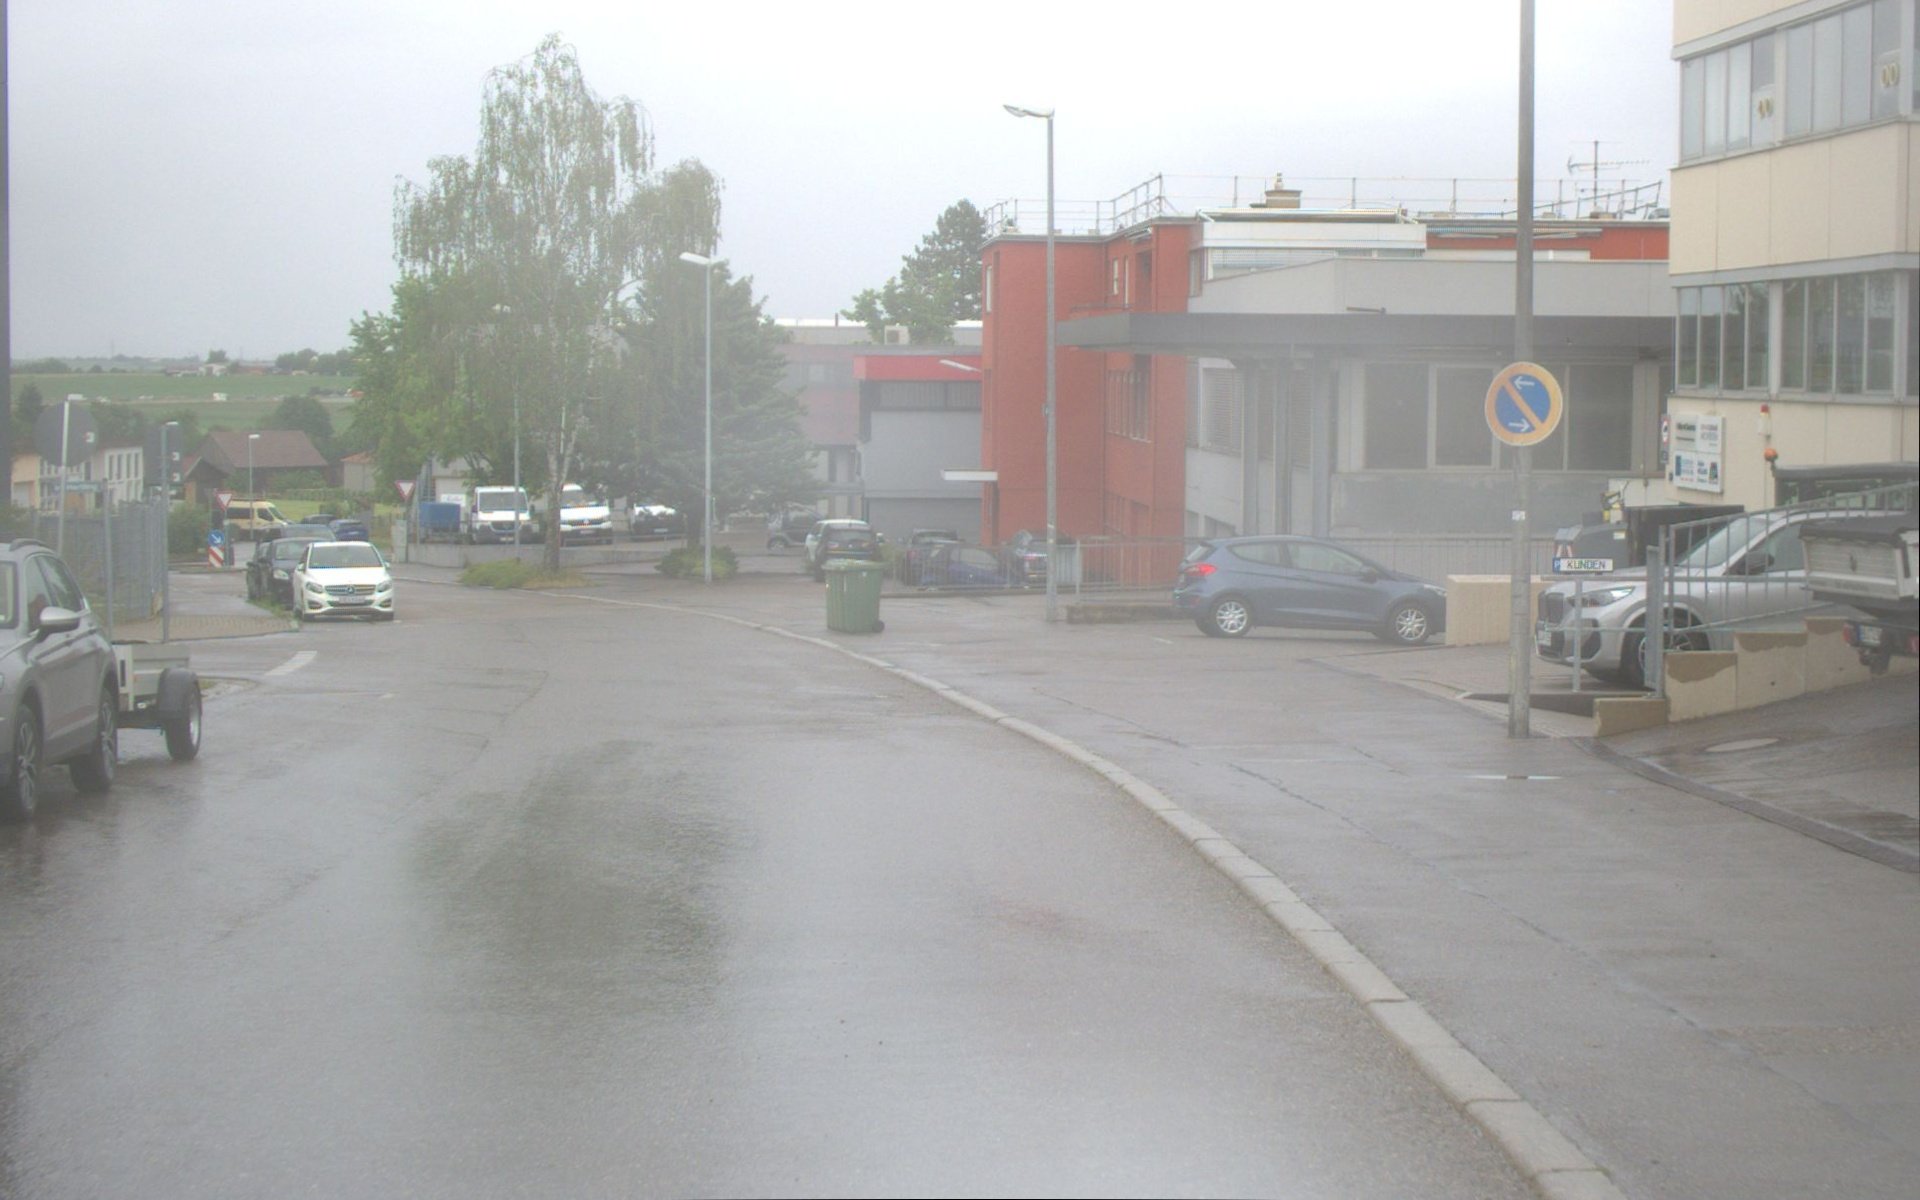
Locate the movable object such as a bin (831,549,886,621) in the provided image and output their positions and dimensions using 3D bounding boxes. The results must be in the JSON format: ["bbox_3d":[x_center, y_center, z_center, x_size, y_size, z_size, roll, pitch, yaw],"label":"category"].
[{"bbox_3d":[-1.562,-0.234,52.767,0.775,1.072,0.584,-1,1,-8],"label":"movable object such as a bin"}]

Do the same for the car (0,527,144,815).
[{"bbox_3d":[-6.383,0.390,21.095,1.957,1.571,4.841,-1,0,-5],"label":"car"}]

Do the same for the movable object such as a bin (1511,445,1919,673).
[{"bbox_3d":[7.614,-0.414,33.297,4.254,2.103,1.477,-1,1,-3],"label":"movable object such as a bin"}]

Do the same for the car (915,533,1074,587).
[{"bbox_3d":[0.733,-0.874,74.886,3.400,1.159,1.792,0,1,-1],"label":"car"}]

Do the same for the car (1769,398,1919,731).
[{"bbox_3d":[8.263,-0.571,22.173,5.298,2.006,2.222,-8,1,-3],"label":"car"}]

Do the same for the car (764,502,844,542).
[{"bbox_3d":[-5.215,-2.603,114.541,2.547,1.347,1.242,0,1,-8],"label":"car"}]

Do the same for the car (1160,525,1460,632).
[{"bbox_3d":[4.869,-0.297,48.159,3.894,1.379,1.821,1,0,-4],"label":"car"}]

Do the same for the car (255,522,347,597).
[{"bbox_3d":[-15.255,-0.952,79.461,1.700,1.604,4.001,-2,2,-16],"label":"car"}]

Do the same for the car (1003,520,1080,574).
[{"bbox_3d":[2.175,-1.405,92.496,1.728,1.417,4.001,0,0,-4],"label":"car"}]

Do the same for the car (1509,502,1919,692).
[{"bbox_3d":[7.755,-0.069,31.414,5.090,1.608,1.925,-1,2,-4],"label":"car"}]

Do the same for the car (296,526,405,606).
[{"bbox_3d":[-12.233,-0.677,68.846,1.769,1.507,4.146,-1,1,-15],"label":"car"}]

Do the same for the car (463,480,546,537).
[{"bbox_3d":[-16.763,-3.332,126.279,2.264,2.007,4.001,-1,0,-19],"label":"car"}]

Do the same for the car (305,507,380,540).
[{"bbox_3d":[-30.724,-3.798,170.985,2.460,1.534,4.000,-1,0,-30],"label":"car"}]

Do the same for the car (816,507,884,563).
[{"bbox_3d":[-2.988,-1.731,92.529,1.697,1.470,4.001,0,0,-4],"label":"car"}]

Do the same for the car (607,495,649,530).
[{"bbox_3d":[-12.912,-3.399,133.545,1.398,1.321,2.702,0,0,-10],"label":"car"}]

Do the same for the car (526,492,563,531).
[{"bbox_3d":[-15.996,-3.397,132.365,1.290,1.419,2.547,0,0,-10],"label":"car"}]

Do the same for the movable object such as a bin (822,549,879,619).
[{"bbox_3d":[-1.717,-0.255,53.893,0.808,1.073,0.582,-1,1,-8],"label":"movable object such as a bin"}]

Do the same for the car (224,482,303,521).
[{"bbox_3d":[-41.373,-5.860,204.374,4.241,2.218,2.000,0,0,3],"label":"car"}]

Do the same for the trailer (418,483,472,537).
[{"bbox_3d":[-19.503,-3.396,130.134,1.852,2.007,4.001,0,1,-11],"label":"trailer"}]

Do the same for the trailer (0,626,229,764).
[{"bbox_3d":[-6.535,0.666,25.478,1.680,0.885,3.898,0,0,-4],"label":"trailer"}]

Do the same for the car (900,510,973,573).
[{"bbox_3d":[-0.648,-1.566,93.371,1.739,1.648,4.001,0,0,-4],"label":"car"}]

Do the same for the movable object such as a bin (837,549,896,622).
[{"bbox_3d":[-1.423,-0.225,52.126,0.806,1.089,0.709,-1,1,-8],"label":"movable object such as a bin"}]

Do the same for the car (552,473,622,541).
[{"bbox_3d":[-13.787,-3.412,126.886,2.192,2.451,4.001,-1,0,-12],"label":"car"}]

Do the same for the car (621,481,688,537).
[{"bbox_3d":[-11.402,-3.386,127.997,2.145,2.007,3.940,0,0,-10],"label":"car"}]

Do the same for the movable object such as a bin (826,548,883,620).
[{"bbox_3d":[-1.633,-0.248,53.338,0.809,1.087,0.542,-1,1,-8],"label":"movable object such as a bin"}]
